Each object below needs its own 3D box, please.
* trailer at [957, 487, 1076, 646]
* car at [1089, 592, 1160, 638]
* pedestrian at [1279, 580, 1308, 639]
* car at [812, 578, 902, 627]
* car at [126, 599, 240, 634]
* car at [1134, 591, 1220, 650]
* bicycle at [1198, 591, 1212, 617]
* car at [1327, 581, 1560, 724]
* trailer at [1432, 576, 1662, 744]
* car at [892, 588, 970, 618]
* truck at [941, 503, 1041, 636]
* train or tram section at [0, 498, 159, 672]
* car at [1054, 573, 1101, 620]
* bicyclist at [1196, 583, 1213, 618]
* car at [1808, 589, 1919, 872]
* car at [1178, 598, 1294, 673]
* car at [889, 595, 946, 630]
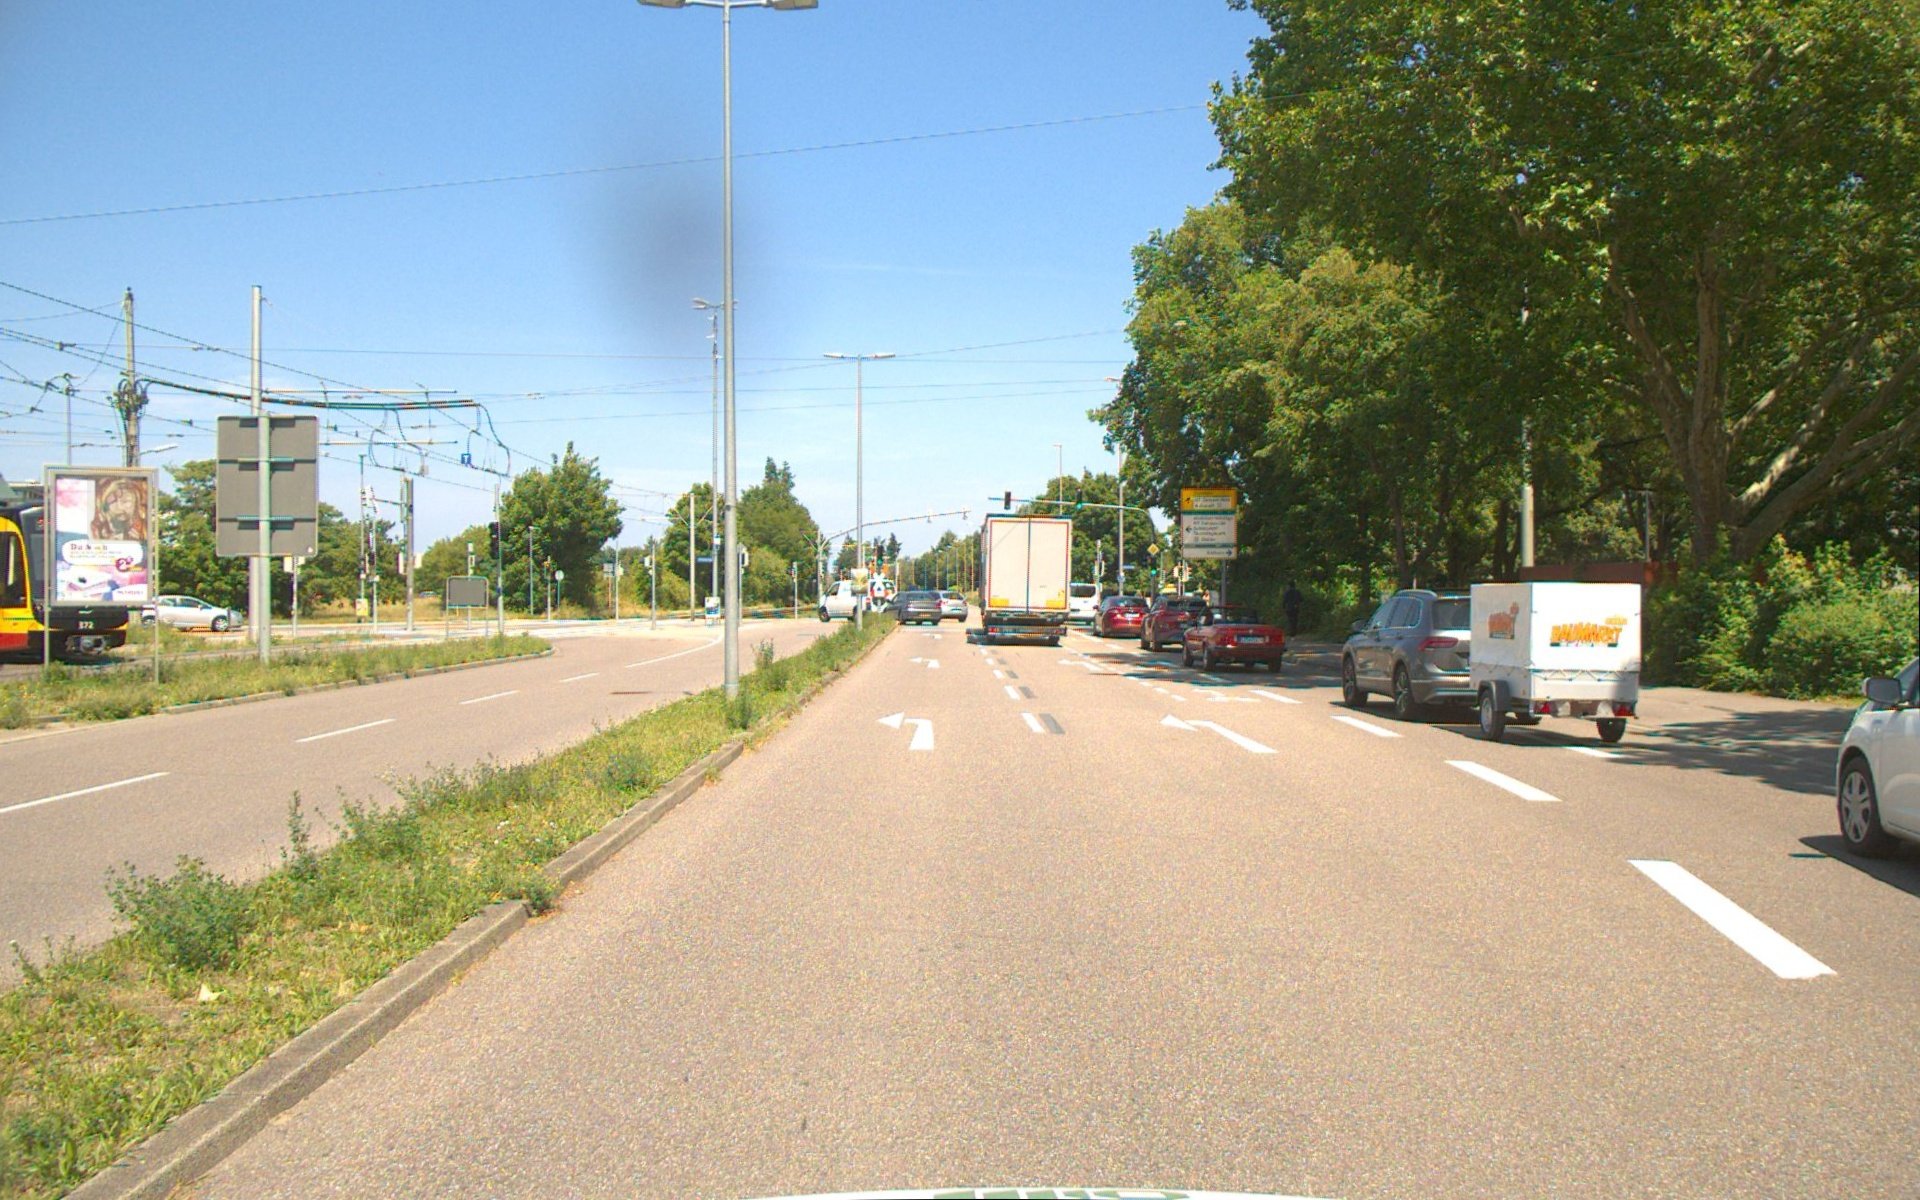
[{"bbox_3d":[1.620,-1.002,51.903,2.771,4.498,8.742,1,1,-4],"label":"trailer"},{"bbox_3d":[5.849,0.503,59.444,1.953,1.529,4.501,0,1,-2],"label":"car"},{"bbox_3d":[10.546,0.294,52.322,0.738,1.847,0.693,-1,0,-2],"label":"pedestrian"},{"bbox_3d":[-4.896,0.082,78.259,1.980,2.148,4.683,-1,2,-38],"label":"car"},{"bbox_3d":[-32.175,0.658,68.478,4.218,1.316,1.982,0,1,-28],"label":"car"},{"bbox_3d":[6.153,0.553,47.235,1.821,1.576,3.886,1,1,-2],"label":"car"},{"bbox_3d":[12.820,0.225,86.549,0.630,1.327,1.627,-2,0,10],"label":"bicycle"},{"bbox_3d":[6.298,0.603,22.062,1.665,1.683,4.397,1,1,-2],"label":"car"},{"bbox_3d":[6.442,0.606,18.416,1.439,1.698,2.855,1,1,-2],"label":"trailer"},{"bbox_3d":[-1.472,0.124,81.576,1.874,1.395,4.382,0,1,-32],"label":"car"},{"bbox_3d":[1.015,-1.133,60.408,2.771,4.419,8.278,2,1,-4],"label":"truck"},{"bbox_3d":[-22.962,-0.445,39.276,3.024,3.526,13.073,1,1,-45],"label":"train or tram section"},{"bbox_3d":[5.693,-0.184,80.355,1.853,2.158,3.886,1,1,-2],"label":"car"},{"bbox_3d":[12.796,0.019,86.565,0.785,1.757,0.679,-2,0,10],"label":"bicyclist"},{"bbox_3d":[5.966,0.720,8.571,1.684,1.514,3.881,1,1,10],"label":"car"},{"bbox_3d":[5.818,0.705,35.312,1.621,1.421,4.266,1,1,-2],"label":"car"},{"bbox_3d":[-1.852,0.530,71.318,1.858,1.396,4.420,2,0,-9],"label":"car"}]
